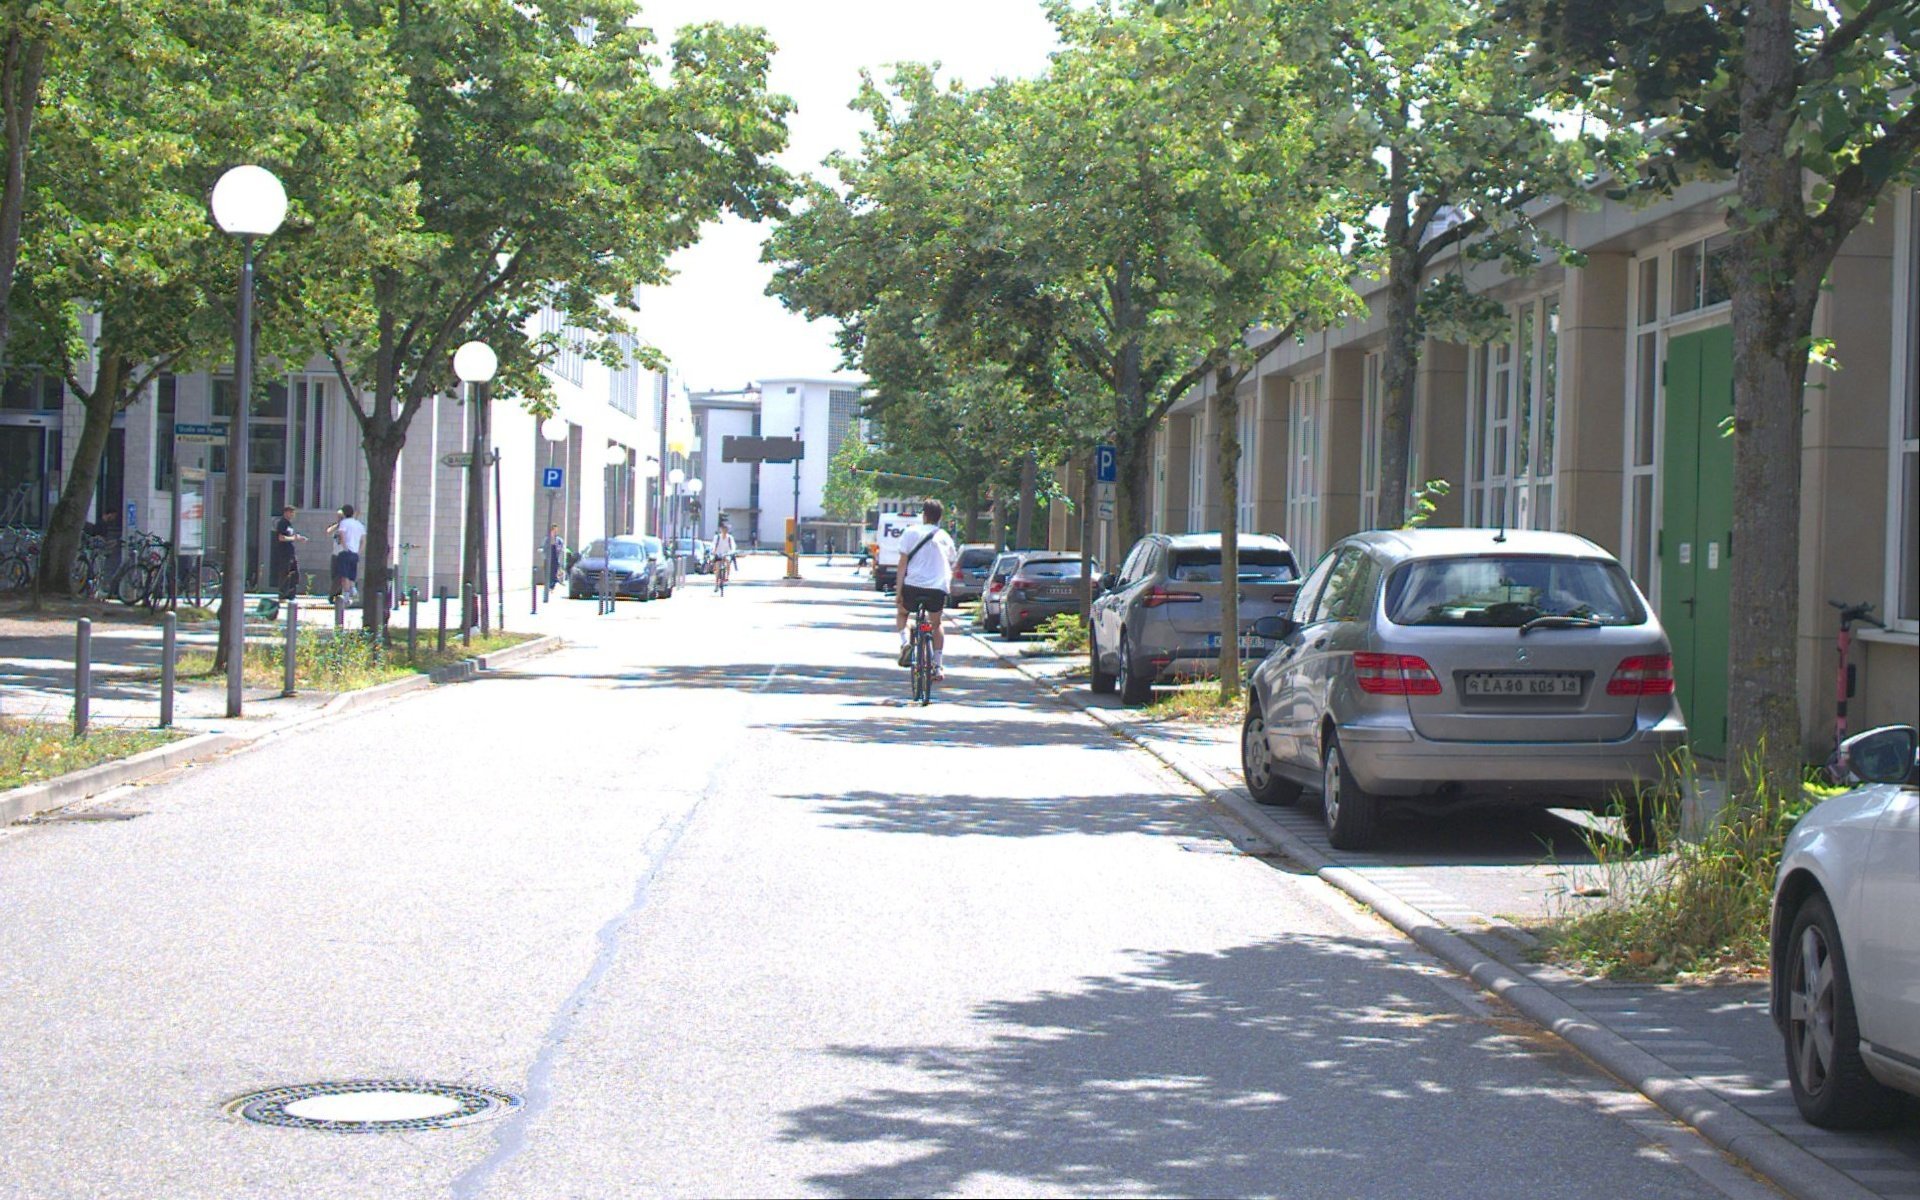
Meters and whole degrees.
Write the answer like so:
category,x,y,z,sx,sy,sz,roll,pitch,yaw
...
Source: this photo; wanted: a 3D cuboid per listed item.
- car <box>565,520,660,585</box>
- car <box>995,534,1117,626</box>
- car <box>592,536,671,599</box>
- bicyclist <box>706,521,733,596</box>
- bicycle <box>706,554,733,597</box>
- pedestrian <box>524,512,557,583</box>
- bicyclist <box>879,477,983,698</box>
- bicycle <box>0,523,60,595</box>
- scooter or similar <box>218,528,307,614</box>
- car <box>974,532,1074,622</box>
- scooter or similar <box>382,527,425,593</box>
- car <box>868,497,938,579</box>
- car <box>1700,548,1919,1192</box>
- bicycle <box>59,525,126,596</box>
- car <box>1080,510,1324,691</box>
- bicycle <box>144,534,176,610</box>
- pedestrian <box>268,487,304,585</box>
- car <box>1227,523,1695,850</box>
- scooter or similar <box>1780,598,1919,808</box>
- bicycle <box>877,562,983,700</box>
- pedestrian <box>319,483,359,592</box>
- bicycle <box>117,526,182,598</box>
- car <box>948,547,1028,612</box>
category,x,y,z,sx,sy,sz,roll,pitch,yaw
car,-8.155,-1.099,81.047,1.766,1.423,4.234,2,0,0
car,1.575,-0.354,57.887,1.780,1.471,4.462,1,1,-2
car,-8.227,-0.818,86.395,1.631,1.479,4.178,2,0,-1
bicyclist,-6.532,-1.125,93.454,0.711,2.007,1.019,1,1,-4
bicycle,-6.529,-0.676,93.426,0.685,1.126,1.889,2,1,-4
pedestrian,-10.323,-1.288,84.574,0.649,1.695,0.890,3,1,-12
bicyclist,-0.280,-0.121,32.302,0.873,2.007,0.850,2,1,-2
bicycle,-14.887,-0.659,54.830,0.552,1.083,1.973,4,1,-2
scooter or similar,-9.878,-0.409,48.707,0.339,1.171,1.326,3,1,33
car,1.156,-0.437,63.257,1.616,1.533,3.780,2,1,-1
scooter or similar,-10.410,-0.750,64.331,0.454,1.219,1.549,2,1,2
car,-1.882,-2.034,112.686,2.083,2.531,4.316,3,1,-2
car,3.100,0.647,7.374,1.725,1.462,4.673,1,1,-4
bicycle,-13.765,-0.630,54.562,0.552,1.083,1.973,4,1,-2
car,2.335,0.003,34.253,1.822,1.658,4.584,1,0,-4
bicycle,-11.211,-0.399,48.156,0.381,1.022,1.816,2,1,-14
pedestrian,-12.293,-1.164,62.707,0.441,1.769,0.451,2,1,-32
car,2.601,0.391,18.786,1.704,1.568,4.141,1,1,-3
scooter or similar,5.421,0.605,20.987,0.415,1.213,1.493,1,1,-2
bicycle,-0.301,0.268,32.373,0.882,1.195,2.750,2,1,-2
pedestrian,-11.204,-1.126,61.989,0.412,1.935,0.663,3,1,-31
bicycle,-12.808,-0.605,54.393,0.552,1.083,1.973,4,1,-2
car,0.667,-0.521,85.772,1.858,1.568,4.000,1,1,-1
